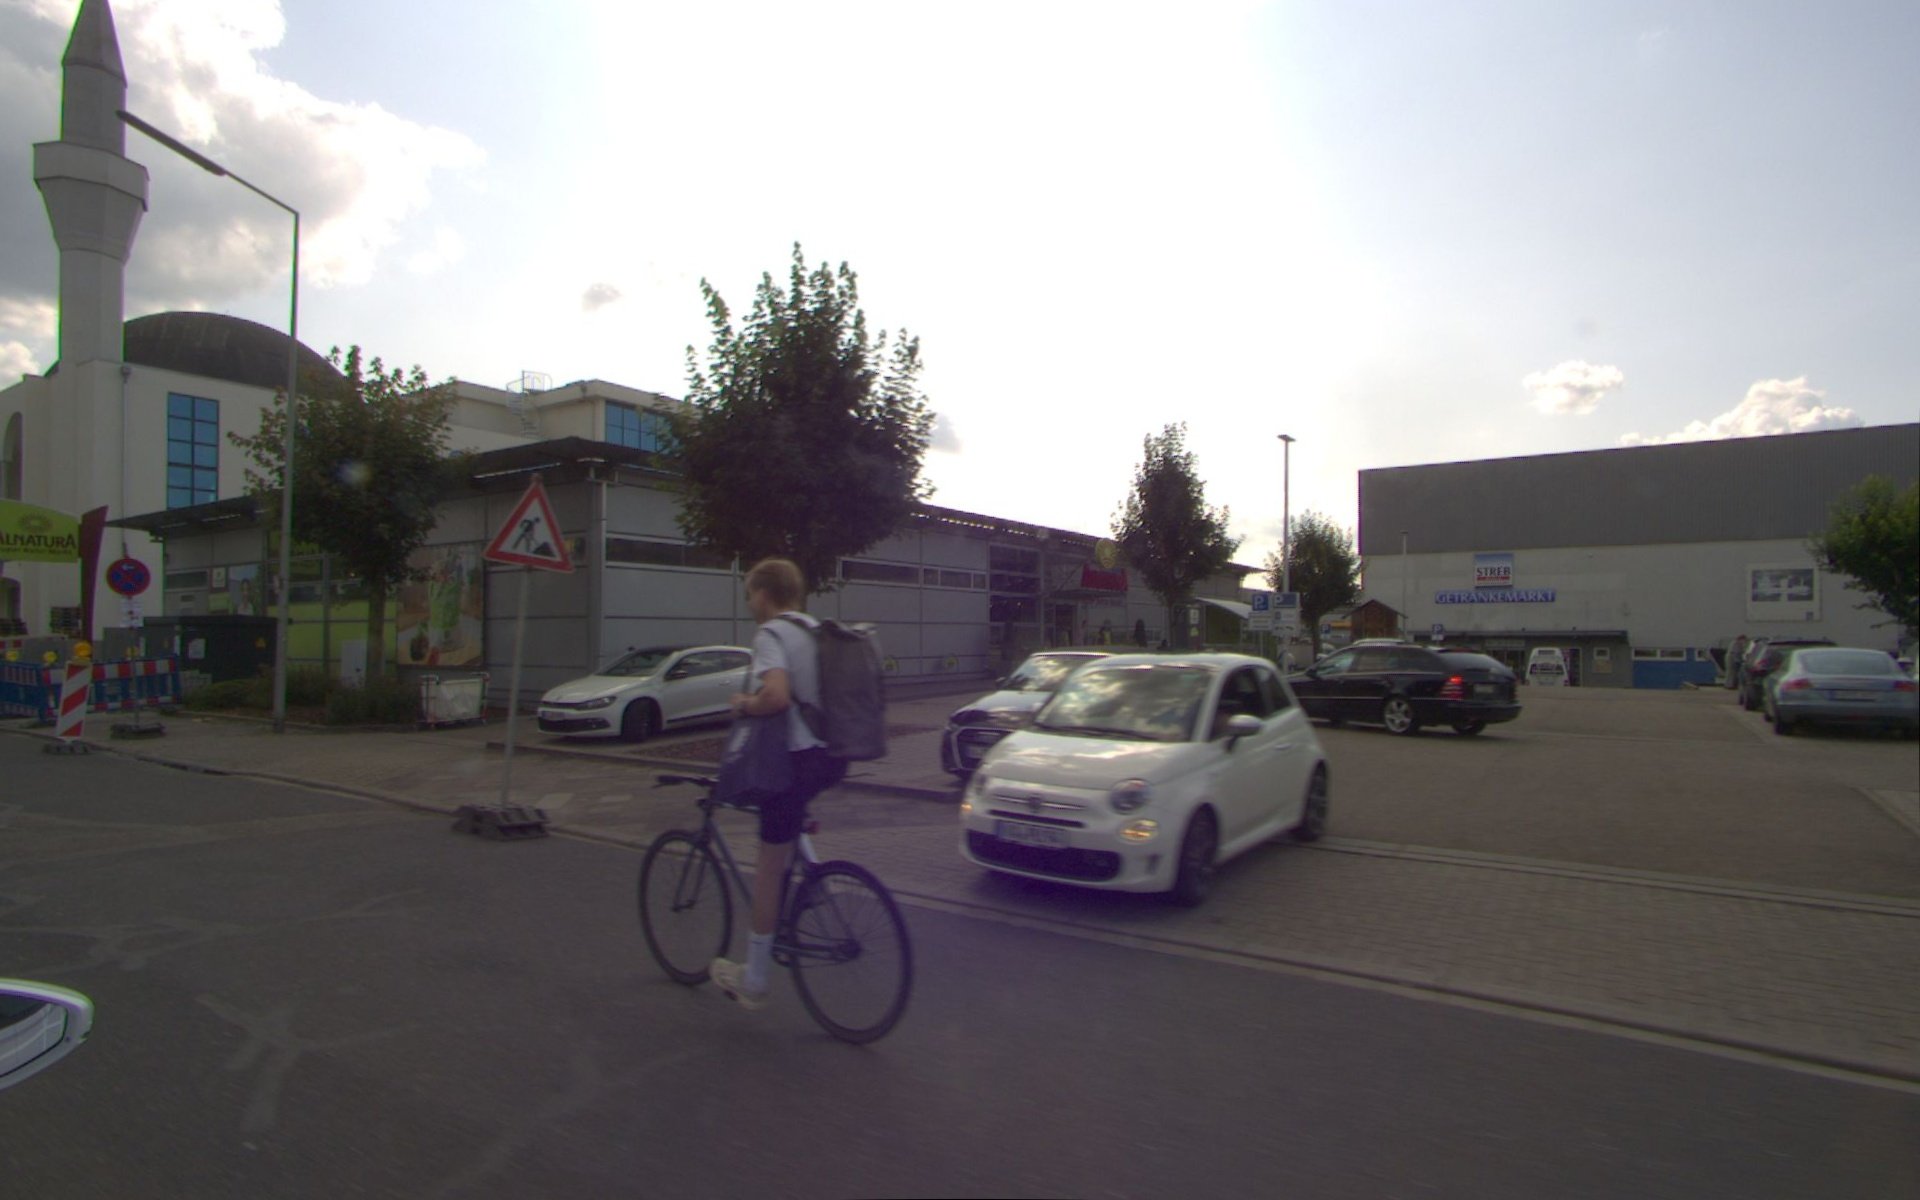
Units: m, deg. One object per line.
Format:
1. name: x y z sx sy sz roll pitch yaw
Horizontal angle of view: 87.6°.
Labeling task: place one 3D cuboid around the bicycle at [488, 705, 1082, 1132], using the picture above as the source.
1. bicycle: -0.838 1.100 4.183 2.590 1.194 0.797 -1 -4 34

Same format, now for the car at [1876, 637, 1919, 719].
1. car: 19.182 1.495 19.118 1.699 1.503 4.112 0 -1 31

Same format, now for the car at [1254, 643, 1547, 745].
1. car: 6.941 1.448 16.325 1.660 1.428 4.375 1 -4 -25

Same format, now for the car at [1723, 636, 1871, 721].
1. car: 16.973 1.515 20.491 1.699 1.503 4.036 0 -1 31

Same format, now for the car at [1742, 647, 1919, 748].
1. car: 14.385 1.505 16.568 1.768 1.355 4.098 0 -1 31

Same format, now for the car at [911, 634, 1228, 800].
1. car: 1.430 1.148 11.396 1.783 1.449 4.167 -1 -1 36

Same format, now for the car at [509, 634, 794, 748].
1. car: -4.770 1.328 16.035 1.962 1.482 4.094 0 -1 33

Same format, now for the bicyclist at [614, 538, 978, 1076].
1. bicyclist: -0.657 0.731 4.073 1.190 1.814 0.805 -1 -4 33

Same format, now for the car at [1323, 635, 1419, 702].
1. car: 10.599 1.691 25.675 1.699 1.503 4.043 0 -1 31

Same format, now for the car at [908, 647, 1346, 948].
1. car: 1.412 1.144 7.276 1.667 1.489 3.587 -1 -1 37

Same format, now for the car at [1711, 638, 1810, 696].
1. car: 23.308 1.885 29.284 1.699 1.503 4.178 0 -1 31
